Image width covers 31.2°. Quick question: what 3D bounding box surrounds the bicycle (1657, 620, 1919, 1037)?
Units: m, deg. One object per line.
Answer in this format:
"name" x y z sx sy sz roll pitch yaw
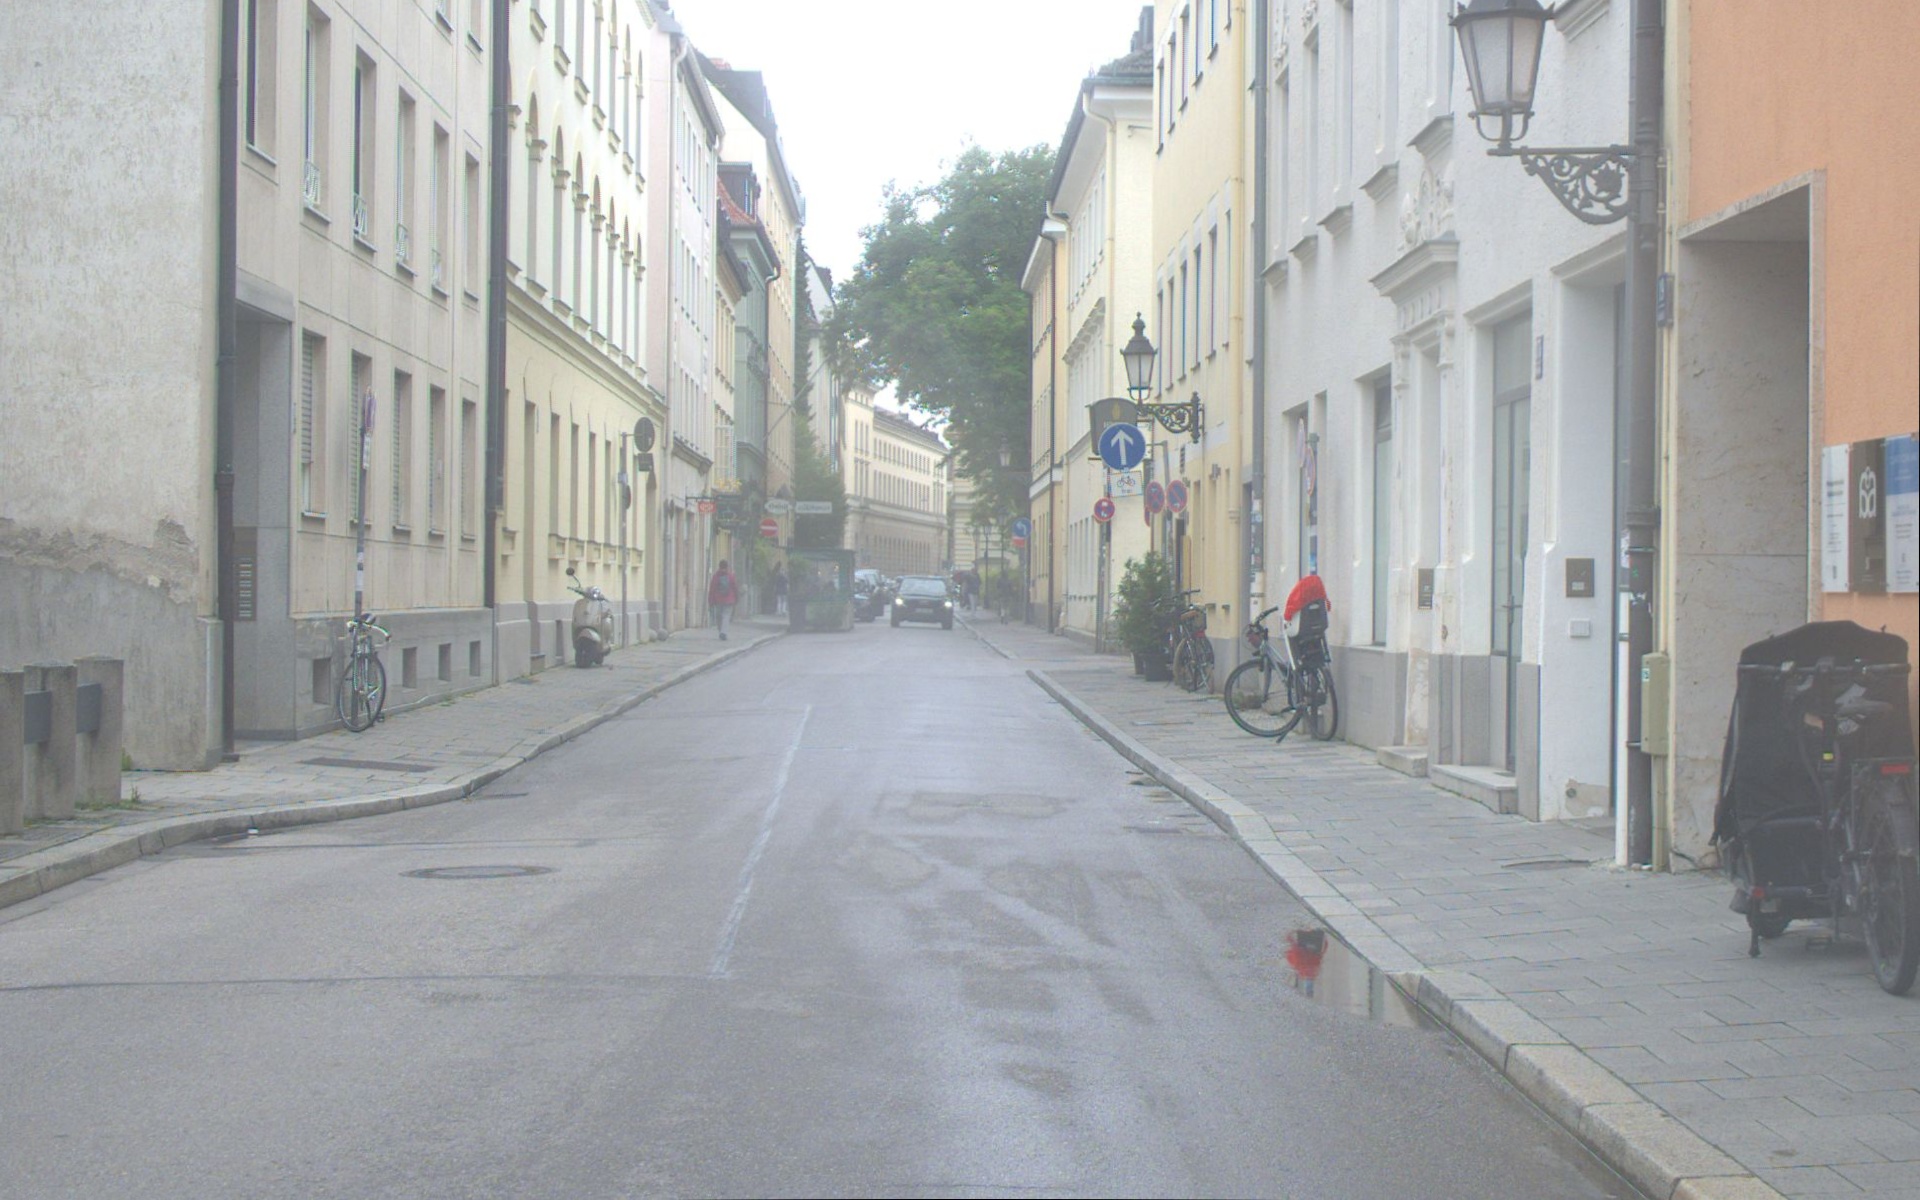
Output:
"bicycle" 3.067 0.739 12.176 0.679 1.236 2.382 -4 1 1

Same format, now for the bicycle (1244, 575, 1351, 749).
"bicycle" 2.843 0.502 29.119 0.713 1.391 2.121 -2 1 2

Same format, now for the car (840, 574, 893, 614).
"car" -3.572 -0.244 131.619 1.779 1.461 3.542 2 0 2

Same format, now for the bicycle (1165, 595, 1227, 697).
"bicycle" 2.755 0.528 40.244 0.565 1.133 1.987 -2 1 0

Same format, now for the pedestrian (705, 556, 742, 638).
"pedestrian" -4.951 -0.062 72.009 0.765 1.702 0.785 0 0 -3

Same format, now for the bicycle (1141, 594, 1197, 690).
"bicycle" 2.572 0.512 42.424 0.565 1.133 1.684 -2 0 0

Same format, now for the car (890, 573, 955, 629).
"car" -1.126 0.018 100.858 1.812 1.588 4.000 1 0 -2

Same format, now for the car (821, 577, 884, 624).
"car" -3.461 0.007 111.408 1.779 1.461 3.662 2 0 2

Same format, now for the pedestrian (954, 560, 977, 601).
"pedestrian" 0.246 -0.873 153.589 1.015 1.796 1.349 2 0 0

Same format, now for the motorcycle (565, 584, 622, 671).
"motorcycle" -5.138 0.374 48.238 0.602 1.170 1.708 1 0 0

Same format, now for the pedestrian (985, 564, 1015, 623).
"pedestrian" 1.230 -0.203 106.284 0.880 1.796 1.046 2 0 0

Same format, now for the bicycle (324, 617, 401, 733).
"bicycle" -5.205 0.642 30.016 0.320 0.940 1.574 3 0 1
